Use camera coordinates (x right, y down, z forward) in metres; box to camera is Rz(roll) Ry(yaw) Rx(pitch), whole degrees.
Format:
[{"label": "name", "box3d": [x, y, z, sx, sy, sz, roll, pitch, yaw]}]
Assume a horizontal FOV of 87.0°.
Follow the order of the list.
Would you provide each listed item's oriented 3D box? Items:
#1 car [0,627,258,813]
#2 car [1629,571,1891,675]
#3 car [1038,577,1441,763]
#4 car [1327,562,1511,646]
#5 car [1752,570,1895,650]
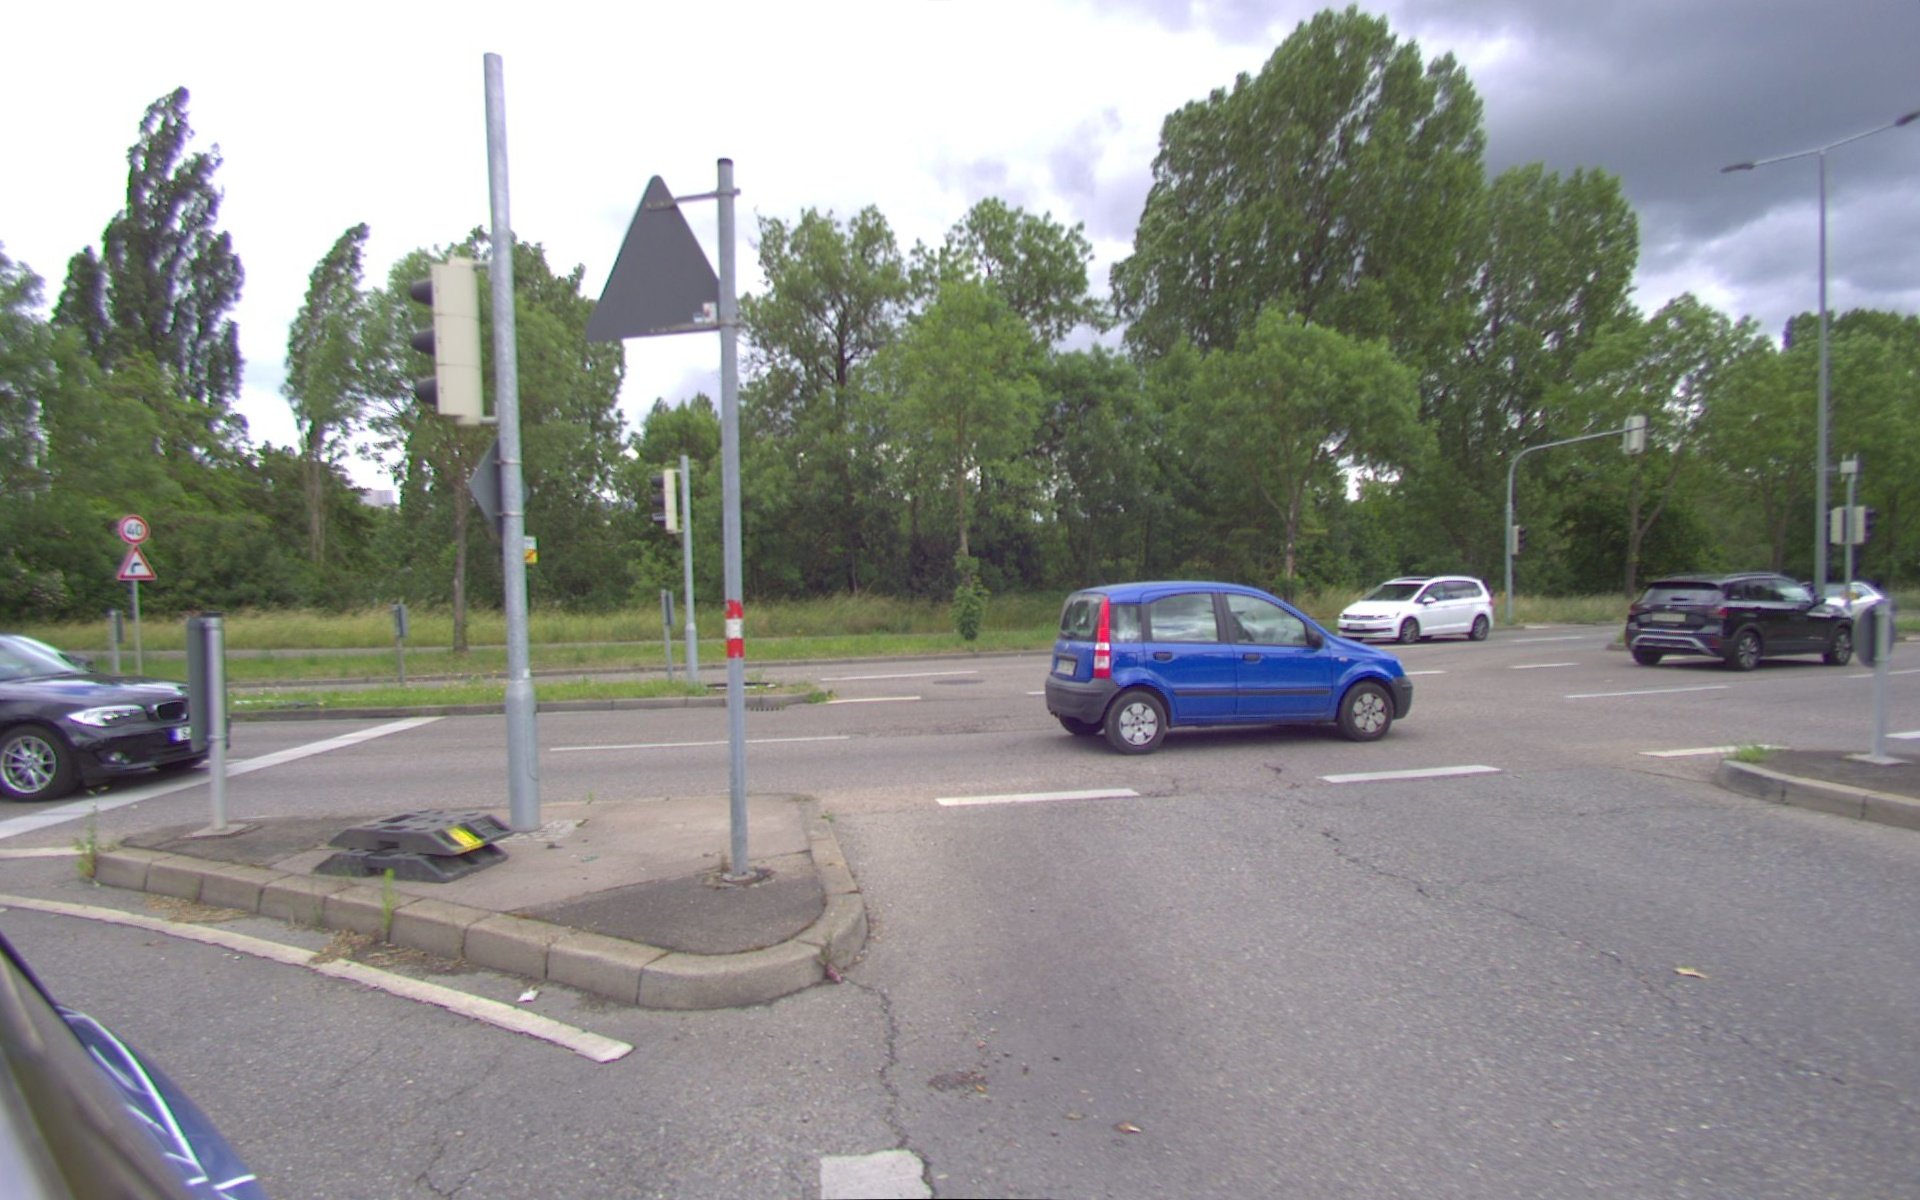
[{"label": "car", "box3d": [-8.548, 1.001, 8.645, 4.026, 1.378, 1.568, -2, 0, 0]}, {"label": "car", "box3d": [13.304, 0.341, 16.850, 3.705, 1.519, 1.667, -2, 0, -20]}, {"label": "car", "box3d": [2.578, 0.587, 9.671, 3.325, 1.519, 1.552, -1, 0, -11]}, {"label": "car", "box3d": [11.675, 0.024, 25.706, 4.249, 1.772, 2.090, -5, 4, -29]}, {"label": "car", "box3d": [26.160, 0.236, 30.641, 4.249, 2.009, 1.942, -5, 4, -29]}]
